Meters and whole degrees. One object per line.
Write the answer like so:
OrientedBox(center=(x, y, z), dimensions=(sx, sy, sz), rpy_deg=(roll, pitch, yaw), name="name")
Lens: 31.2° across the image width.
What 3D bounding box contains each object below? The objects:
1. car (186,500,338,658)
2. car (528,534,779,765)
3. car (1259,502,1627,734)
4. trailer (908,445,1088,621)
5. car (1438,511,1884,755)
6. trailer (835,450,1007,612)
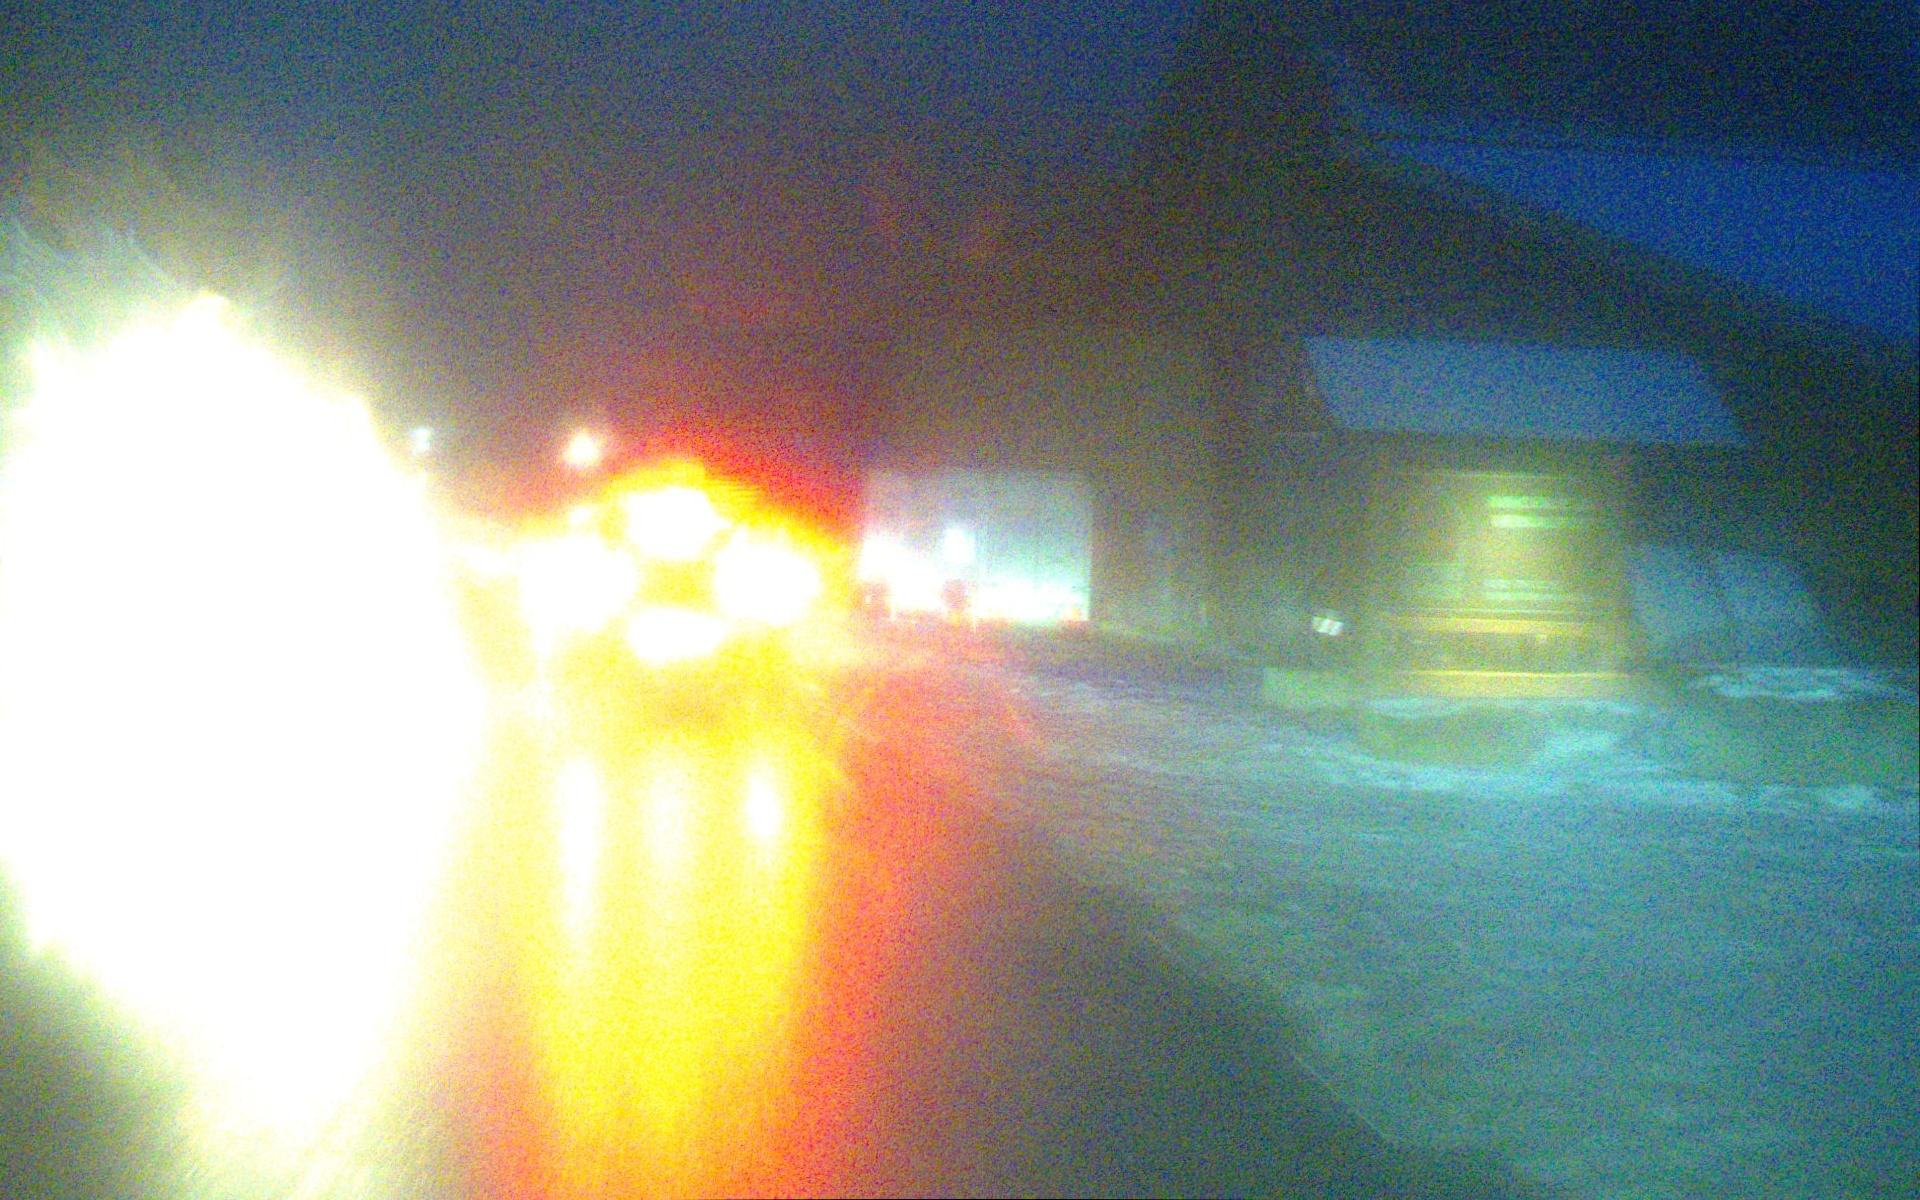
OrientedBox(center=(-9.848, -0.337, 48.638), dimensions=(1.918, 2.050, 4.889), rpy_deg=(2, 1, -11), name="car")
OrientedBox(center=(-2.498, 0.334, 27.312), dimensions=(1.801, 1.623, 3.616), rpy_deg=(2, 1, -7), name="car")
OrientedBox(center=(4.578, 0.117, 33.301), dimensions=(1.877, 2.033, 4.392), rpy_deg=(2, 1, -15), name="car")
OrientedBox(center=(0.496, -0.985, 49.974), dimensions=(1.605, 2.344, 4.432), rpy_deg=(4, 1, -11), name="trailer")
OrientedBox(center=(5.669, 0.212, 28.373), dimensions=(1.877, 1.803, 4.157), rpy_deg=(2, 1, -15), name="car")
OrientedBox(center=(-0.671, -1.112, 54.680), dimensions=(1.629, 2.356, 4.655), rpy_deg=(4, 1, -13), name="trailer")
